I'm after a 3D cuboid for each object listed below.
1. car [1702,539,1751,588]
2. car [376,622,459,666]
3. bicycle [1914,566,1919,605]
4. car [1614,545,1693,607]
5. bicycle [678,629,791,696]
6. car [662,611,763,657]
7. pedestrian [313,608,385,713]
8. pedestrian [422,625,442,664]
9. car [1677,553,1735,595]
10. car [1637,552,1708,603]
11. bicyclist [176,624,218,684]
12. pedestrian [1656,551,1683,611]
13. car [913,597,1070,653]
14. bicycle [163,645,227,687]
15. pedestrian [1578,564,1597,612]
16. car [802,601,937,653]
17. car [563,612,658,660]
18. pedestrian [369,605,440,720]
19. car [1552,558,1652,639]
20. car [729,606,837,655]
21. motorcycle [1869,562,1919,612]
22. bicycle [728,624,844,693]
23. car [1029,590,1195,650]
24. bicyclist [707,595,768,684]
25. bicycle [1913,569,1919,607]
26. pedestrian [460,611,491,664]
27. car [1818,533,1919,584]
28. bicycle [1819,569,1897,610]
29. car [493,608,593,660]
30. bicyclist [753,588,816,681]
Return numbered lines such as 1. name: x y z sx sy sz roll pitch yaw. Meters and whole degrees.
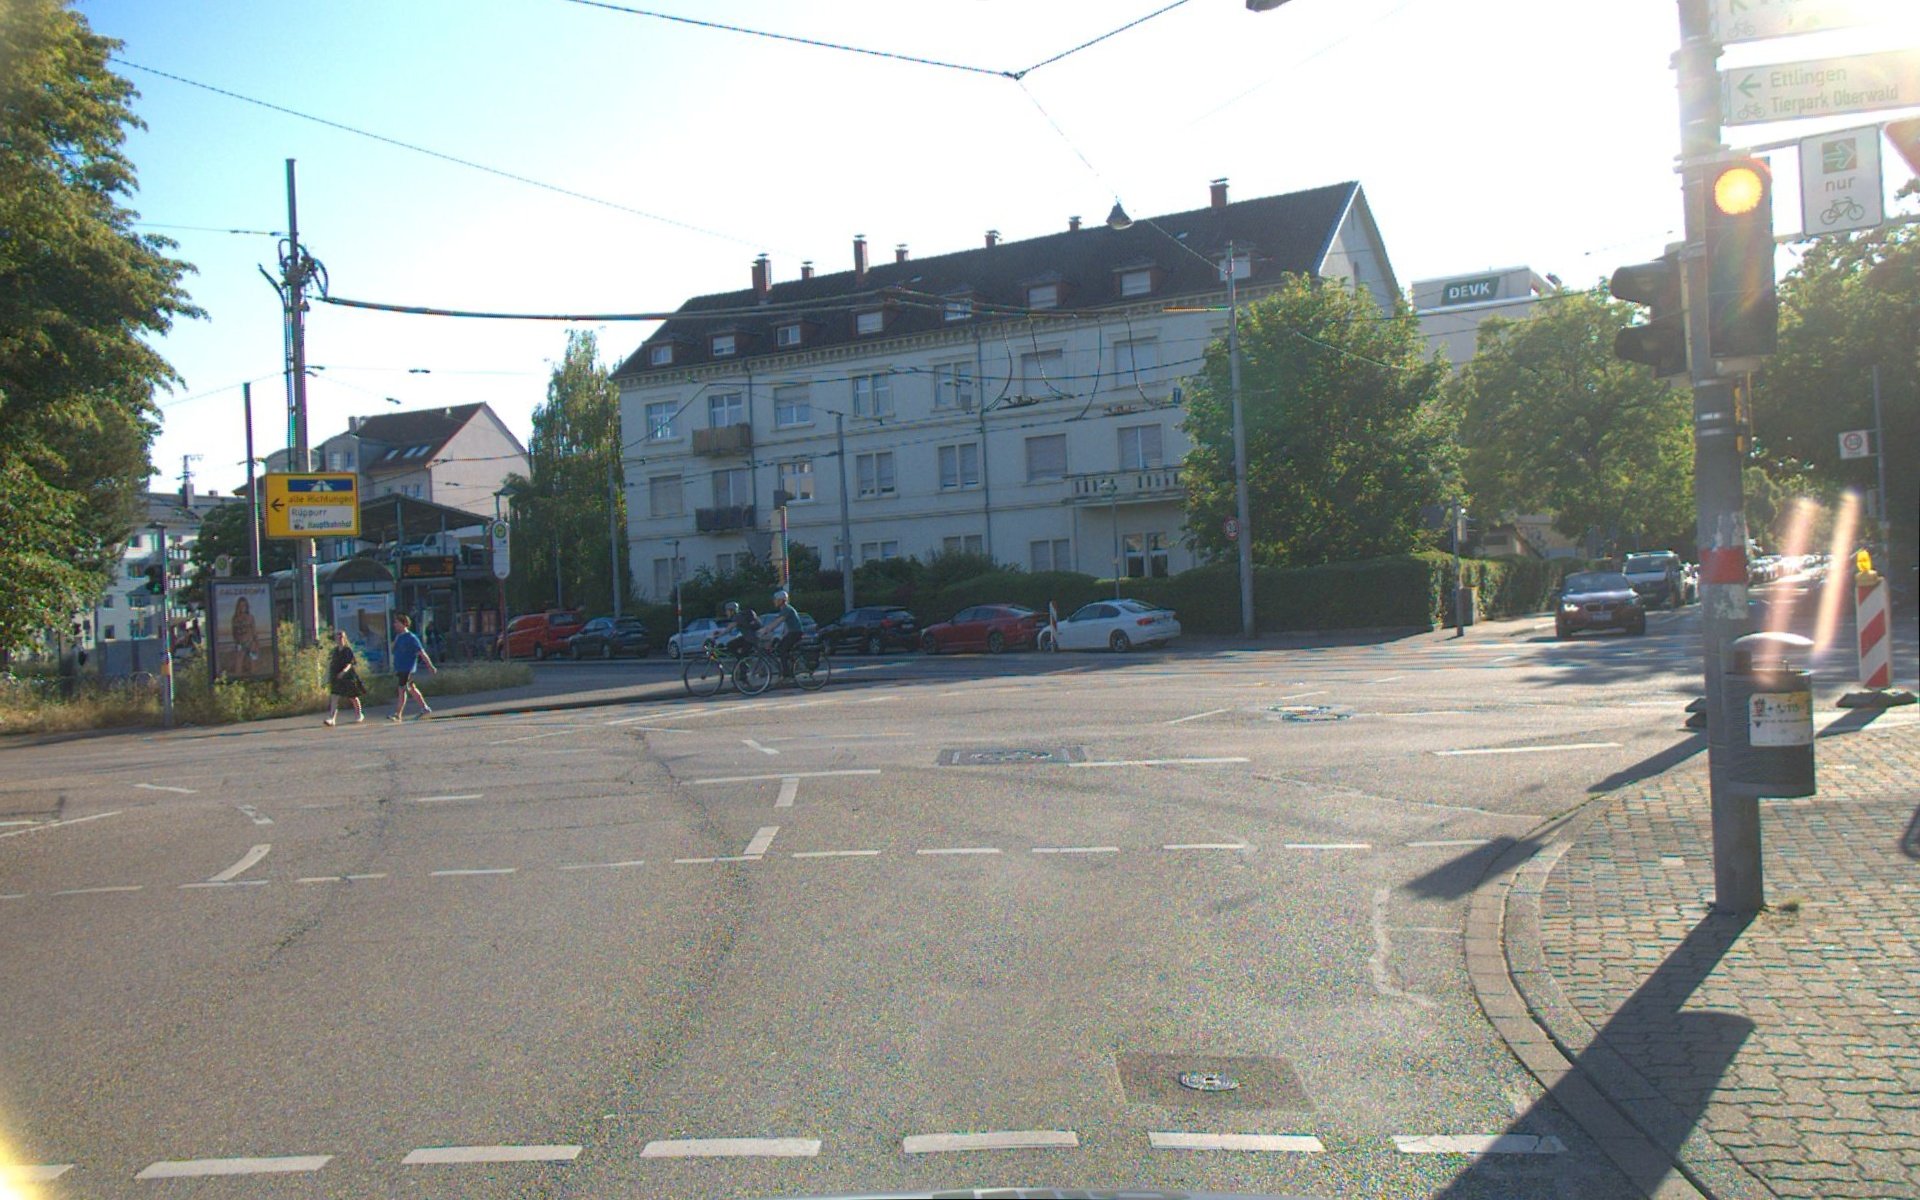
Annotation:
1. car: 43.118 -2.038 92.941 2.308 2.558 5.305 -3 0 26
2. car: -27.186 2.222 82.791 2.039 1.995 5.073 -6 2 -41
3. bicycle: 24.372 -0.399 40.502 1.691 0.949 0.561 -3 0 29
4. car: 25.349 -0.872 60.334 2.308 2.049 5.305 -3 0 26
5. bicycle: -4.117 1.130 30.172 1.976 1.087 0.662 -3 0 -9
6. car: -9.173 1.267 61.216 1.830 1.472 3.899 -6 2 -41
7. pedestrian: -10.806 1.050 29.304 0.894 1.777 1.066 -3 0 -7
8. pedestrian: -21.103 1.782 66.073 0.560 1.527 0.672 -3 0 -29
9. car: 35.646 -1.253 78.969 2.308 1.826 5.305 -3 0 26
10. car: 28.351 -0.921 65.759 2.308 1.826 5.305 -3 0 26
11. bicyclist: -22.109 1.565 47.939 0.654 1.681 0.887 -3 0 8
12. pedestrian: 22.635 -0.603 52.770 0.648 1.871 0.682 -3 0 28
13. car: 0.914 0.764 50.125 4.625 1.400 1.974 -3 2 44
14. bicycle: -22.115 1.892 47.840 0.647 1.087 2.021 -3 0 8
15. pedestrian: 23.458 -0.456 61.868 0.567 1.761 0.608 -3 0 23
16. car: -3.030 0.906 54.573 1.970 1.472 4.634 -6 2 -41
17. car: -14.190 1.470 66.974 1.830 1.696 4.304 -6 2 -41
18. pedestrian: -9.879 1.096 29.447 0.894 1.958 1.066 -3 0 -7
19. car: 14.356 -0.042 36.923 1.855 1.591 4.392 -4 -1 22
20. car: -6.209 1.079 57.769 1.970 1.472 3.663 -6 2 -41
21. motorcycle: 22.934 -0.329 39.591 1.912 1.128 0.837 -3 0 24
22. bicycle: -3.085 1.030 29.249 1.975 1.087 0.662 -3 0 -8
23. car: 4.199 0.588 46.181 1.916 1.400 4.426 -6 2 -43
24. bicyclist: -4.063 0.709 30.184 1.015 1.558 0.659 -3 0 -9
25. bicycle: 24.732 -0.345 41.180 1.691 0.949 0.561 -3 0 29
26. pedestrian: -19.094 1.478 65.183 0.914 2.049 0.759 -3 0 -37
27. car: 40.819 -1.830 73.116 4.990 1.958 2.360 -3 -2 26
28. bicycle: 22.773 -0.263 41.980 1.691 0.949 0.671 -3 0 29
29. car: -18.159 1.512 71.954 2.039 1.995 5.073 -6 2 -41
30. bicyclist: -3.111 0.602 29.266 1.015 1.558 0.697 -3 0 -8
